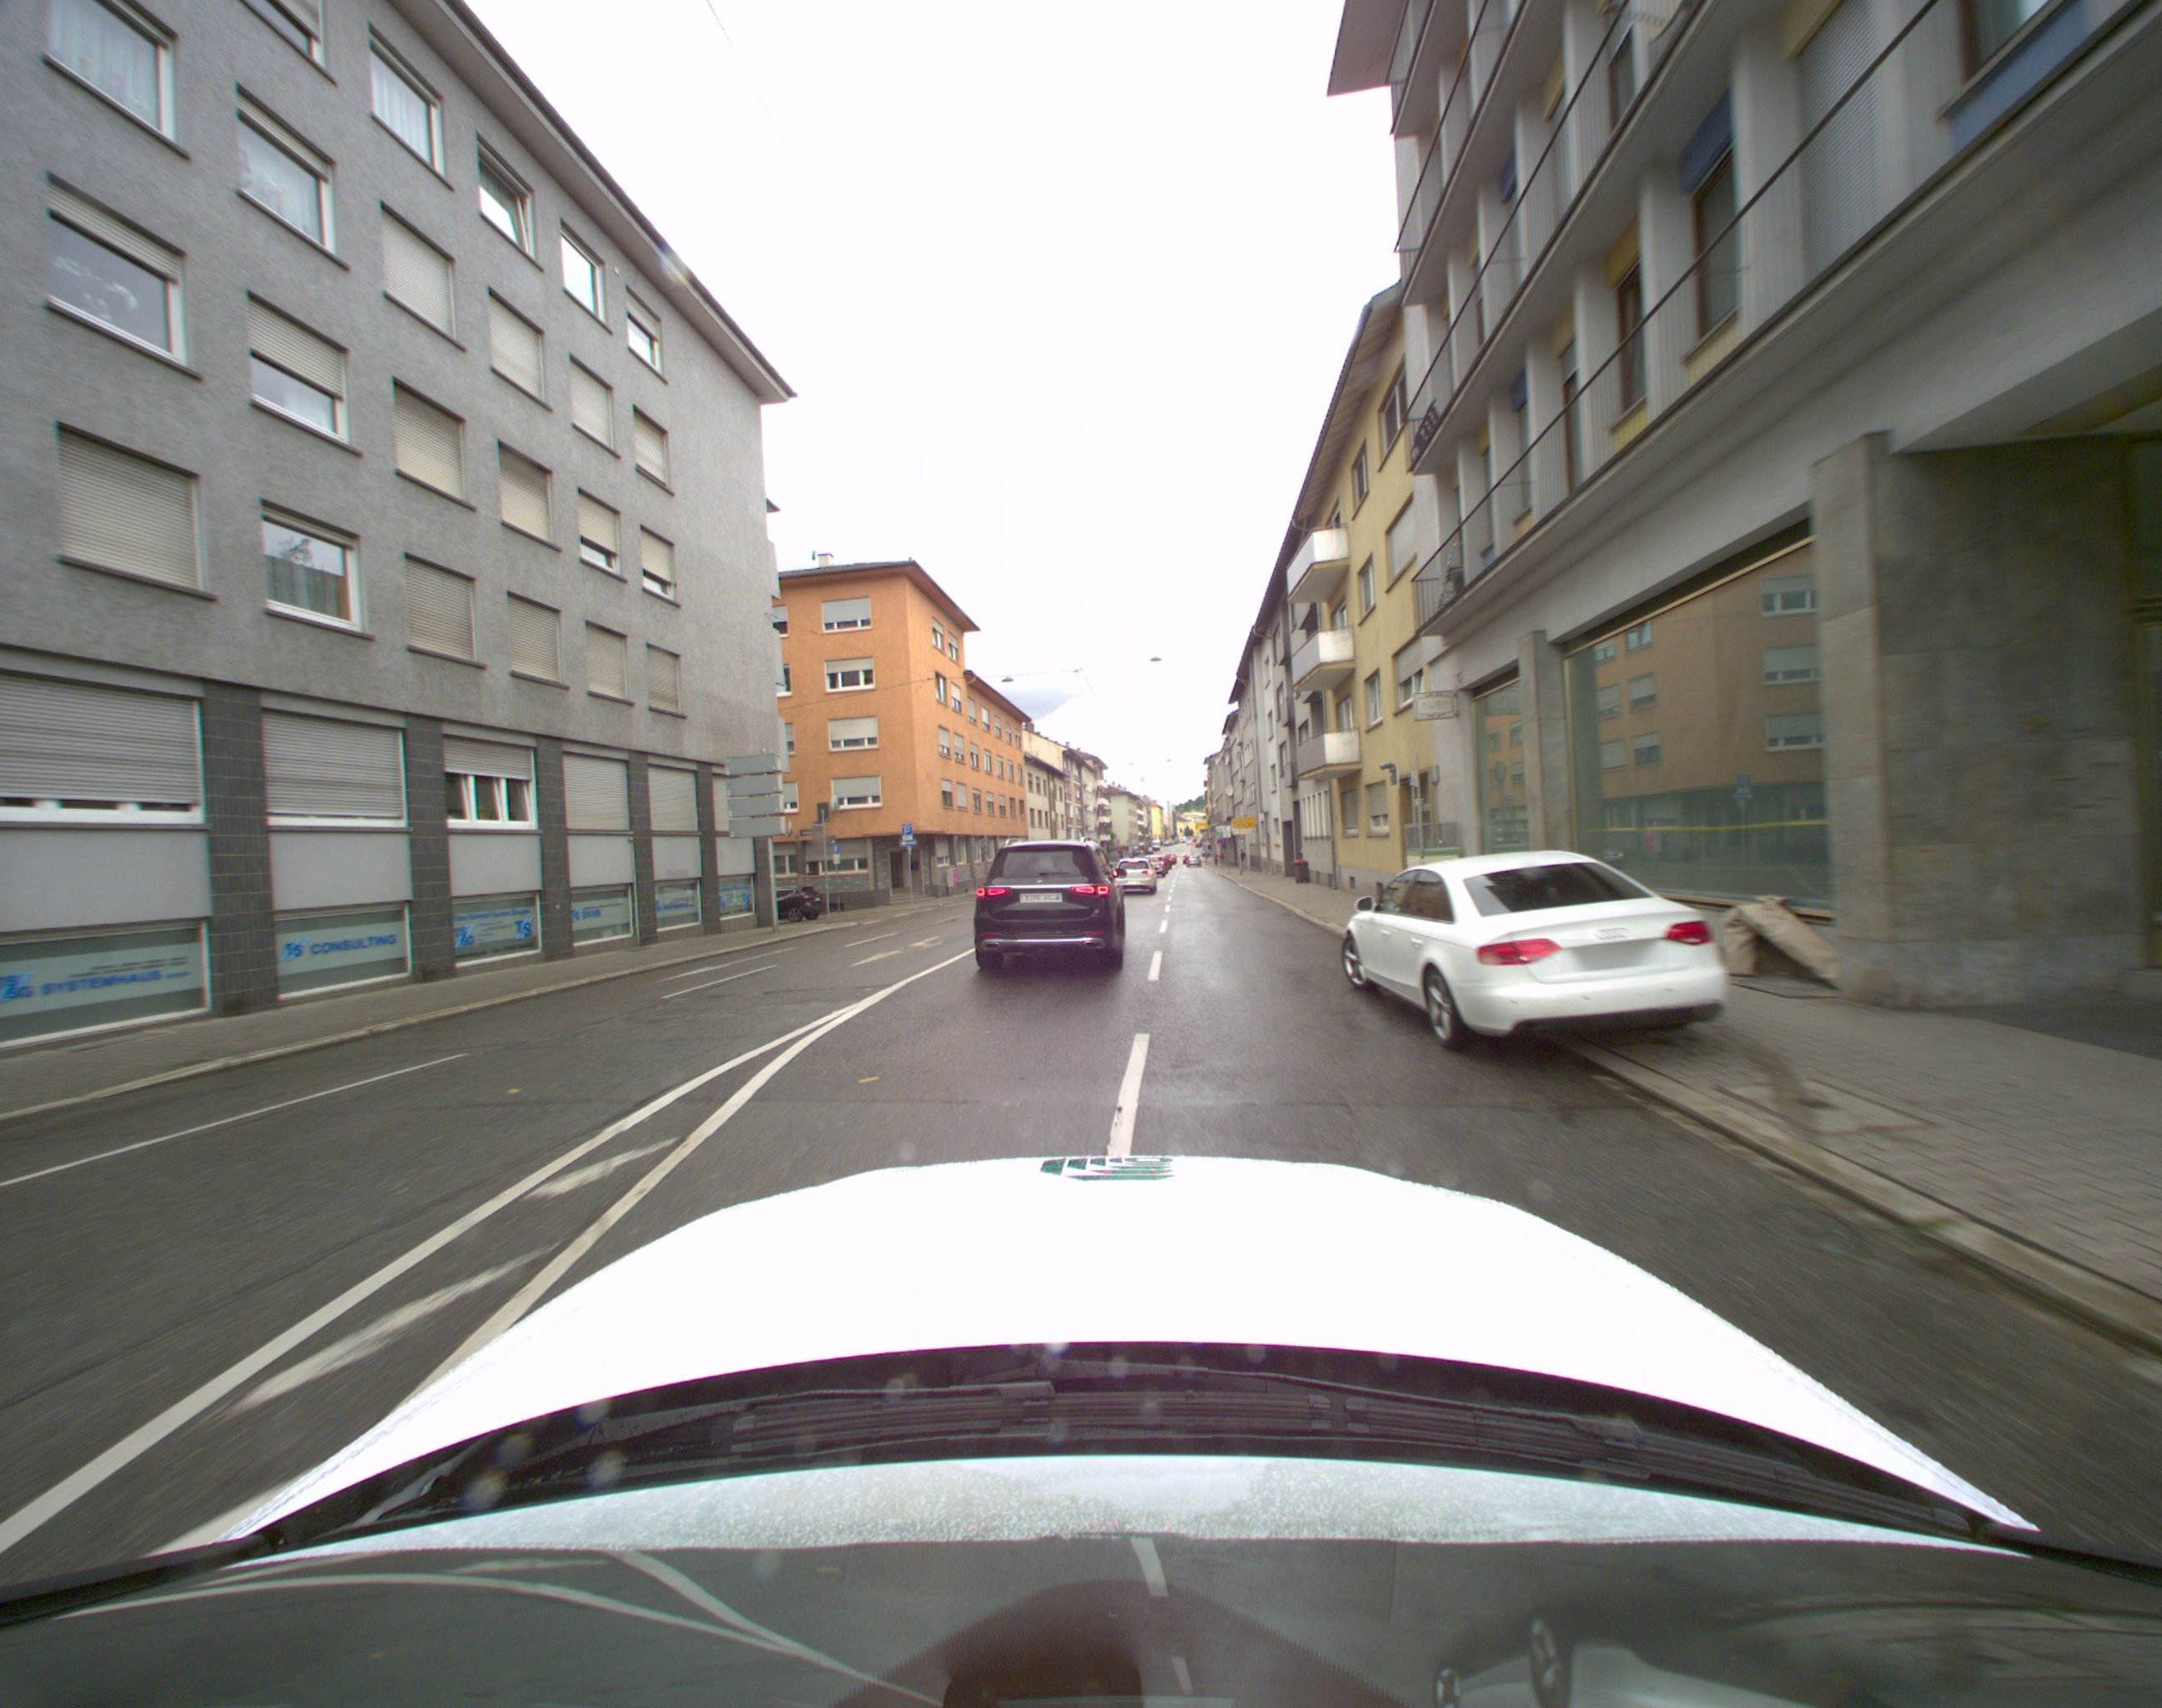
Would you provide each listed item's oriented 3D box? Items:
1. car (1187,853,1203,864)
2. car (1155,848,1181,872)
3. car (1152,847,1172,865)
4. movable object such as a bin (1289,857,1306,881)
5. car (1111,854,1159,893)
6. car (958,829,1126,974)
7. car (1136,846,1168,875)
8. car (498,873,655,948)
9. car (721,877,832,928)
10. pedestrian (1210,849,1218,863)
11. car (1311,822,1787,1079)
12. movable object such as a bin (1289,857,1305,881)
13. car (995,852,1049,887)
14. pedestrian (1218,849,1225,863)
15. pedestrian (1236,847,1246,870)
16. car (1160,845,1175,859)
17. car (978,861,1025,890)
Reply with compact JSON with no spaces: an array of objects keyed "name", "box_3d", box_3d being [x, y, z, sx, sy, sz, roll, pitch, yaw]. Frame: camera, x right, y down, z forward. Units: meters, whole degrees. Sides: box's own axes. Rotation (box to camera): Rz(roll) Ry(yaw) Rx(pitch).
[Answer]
[{"name":"car","box_3d":[14.450,0.560,103.521,1.726,1.388,4.590,-2,0,6]},{"name":"car","box_3d":[7.957,0.532,74.200,1.982,2.013,4.011,-2,0,9]},{"name":"car","box_3d":[9.399,0.220,93.766,1.982,2.013,4.011,-2,0,9]},{"name":"movable object such as a bin","box_3d":[9.165,0.629,34.546,0.559,0.962,0.476,-7,-1,9]},{"name":"car","box_3d":[2.328,0.793,34.795,1.884,1.510,4.179,-1,0,4]},{"name":"car","box_3d":[-0.392,0.574,12.613,2.068,1.765,4.614,-2,1,3]},{"name":"car","box_3d":[5.293,0.480,60.289,1.982,2.013,4.011,-2,0,9]},{"name":"car","box_3d":[-21.788,2.425,35.334,5.323,2.458,1.983,-7,0,1]},{"name":"car","box_3d":[-13.463,2.120,36.117,3.966,1.652,1.934,-7,0,6]},{"name":"pedestrian","box_3d":[15.558,0.240,95.115,0.816,1.565,0.902,-2,0,9]},{"name":"car","box_3d":[3.635,0.607,7.533,1.885,1.402,4.614,-8,0,5]},{"name":"movable object such as a bin","box_3d":[9.025,0.621,34.013,0.470,0.962,0.566,-7,-1,8]},{"name":"car","box_3d":[-2.889,0.710,40.687,1.817,1.416,4.302,-7,0,6]},{"name":"pedestrian","box_3d":[16.409,0.223,94.997,0.816,1.565,0.902,-2,0,9]},{"name":"pedestrian","box_3d":[12.459,0.349,63.447,0.651,1.752,0.744,-5,-1,12]},{"name":"car","box_3d":[13.389,-0.354,125.740,1.982,2.013,4.011,-2,0,9]},{"name":"car","box_3d":[-4.573,1.228,47.572,1.882,1.458,4.556,-2,0,5]}]
